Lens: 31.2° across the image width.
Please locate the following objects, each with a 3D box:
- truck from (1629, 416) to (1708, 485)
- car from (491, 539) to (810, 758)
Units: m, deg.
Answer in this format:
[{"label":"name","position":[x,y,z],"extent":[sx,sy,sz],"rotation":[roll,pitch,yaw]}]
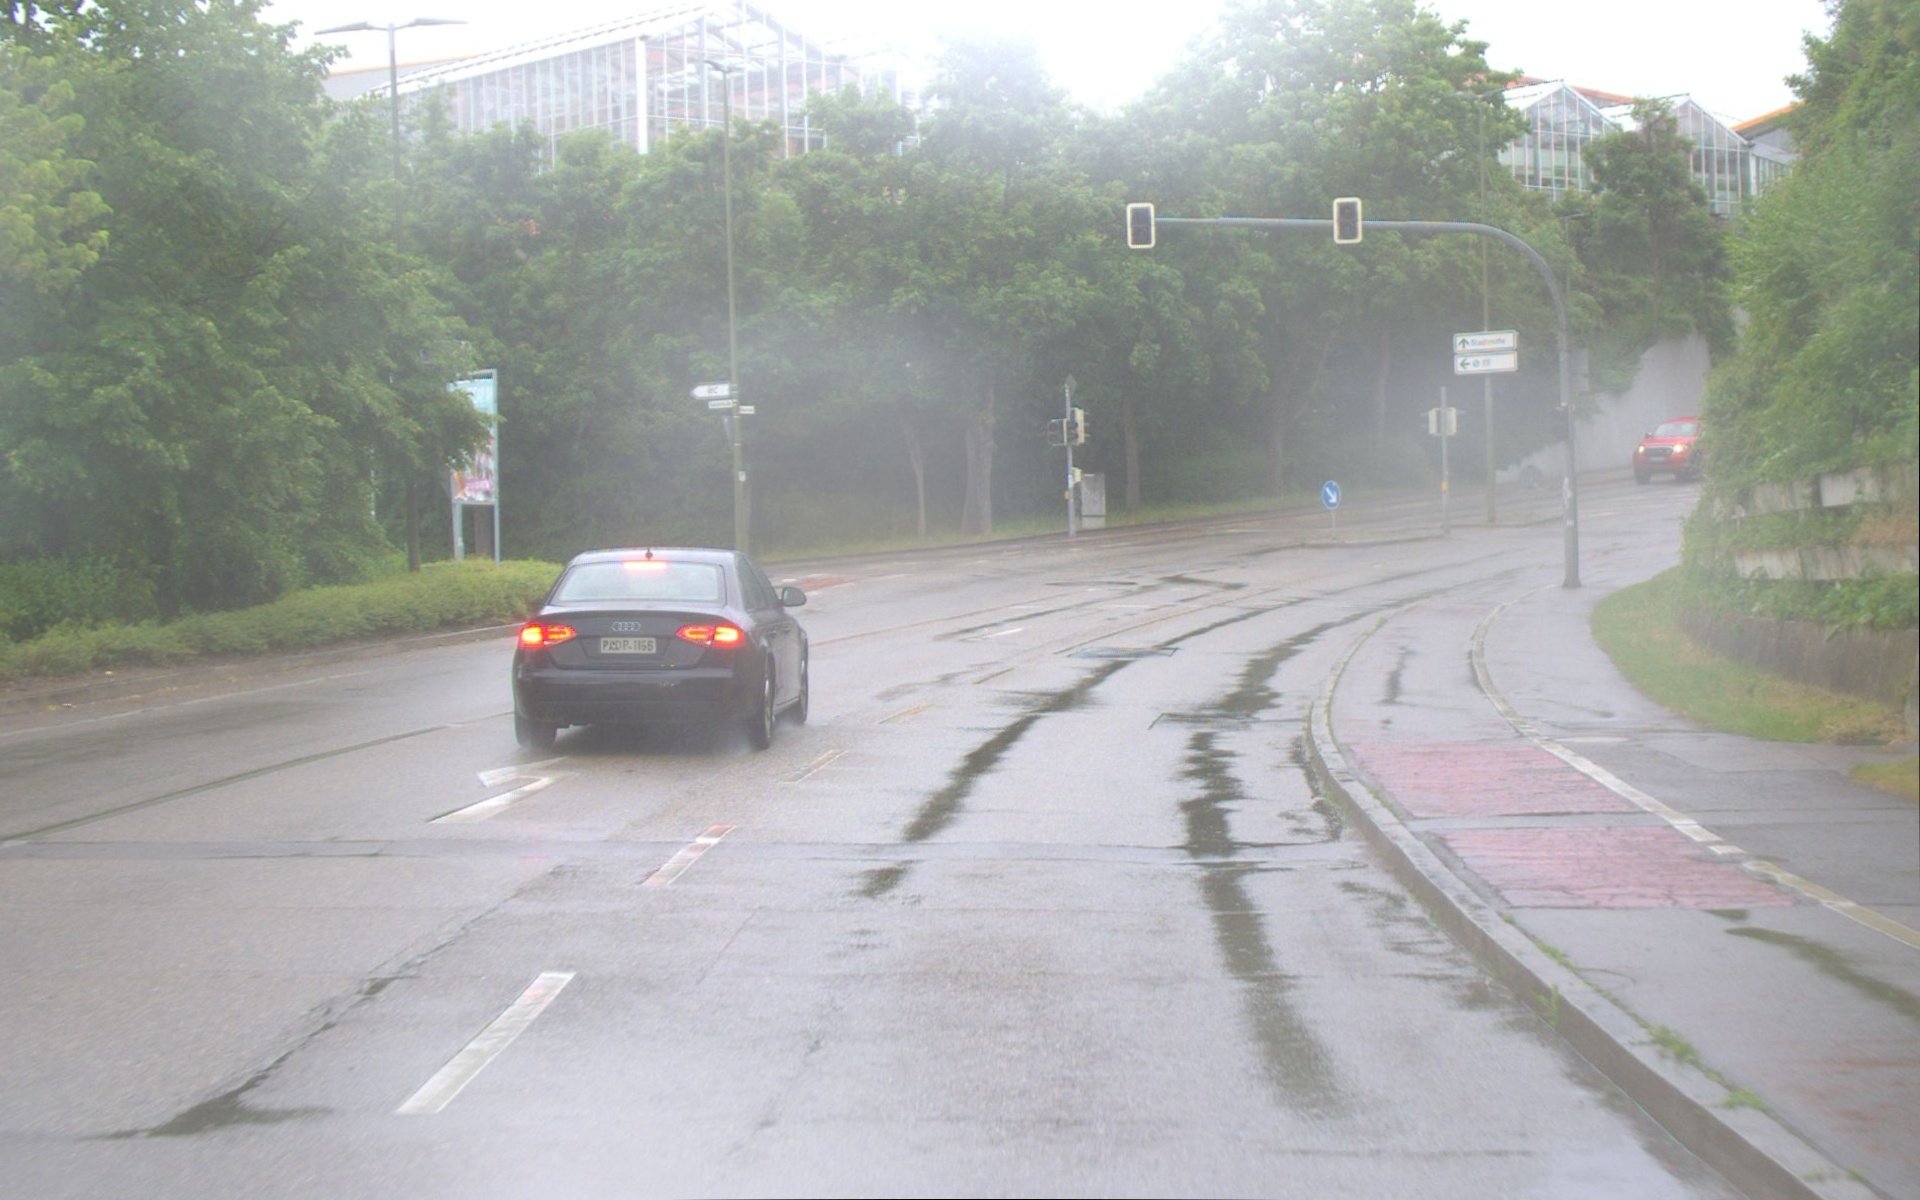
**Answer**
[{"label":"truck","position":[21.879,-4.596,106.004],"extent":[1.995,2.006,5.335],"rotation":[-2,2,16]},{"label":"car","position":[-2.160,0.291,24.991],"extent":[1.755,1.390,4.000],"rotation":[-1,2,3]}]
